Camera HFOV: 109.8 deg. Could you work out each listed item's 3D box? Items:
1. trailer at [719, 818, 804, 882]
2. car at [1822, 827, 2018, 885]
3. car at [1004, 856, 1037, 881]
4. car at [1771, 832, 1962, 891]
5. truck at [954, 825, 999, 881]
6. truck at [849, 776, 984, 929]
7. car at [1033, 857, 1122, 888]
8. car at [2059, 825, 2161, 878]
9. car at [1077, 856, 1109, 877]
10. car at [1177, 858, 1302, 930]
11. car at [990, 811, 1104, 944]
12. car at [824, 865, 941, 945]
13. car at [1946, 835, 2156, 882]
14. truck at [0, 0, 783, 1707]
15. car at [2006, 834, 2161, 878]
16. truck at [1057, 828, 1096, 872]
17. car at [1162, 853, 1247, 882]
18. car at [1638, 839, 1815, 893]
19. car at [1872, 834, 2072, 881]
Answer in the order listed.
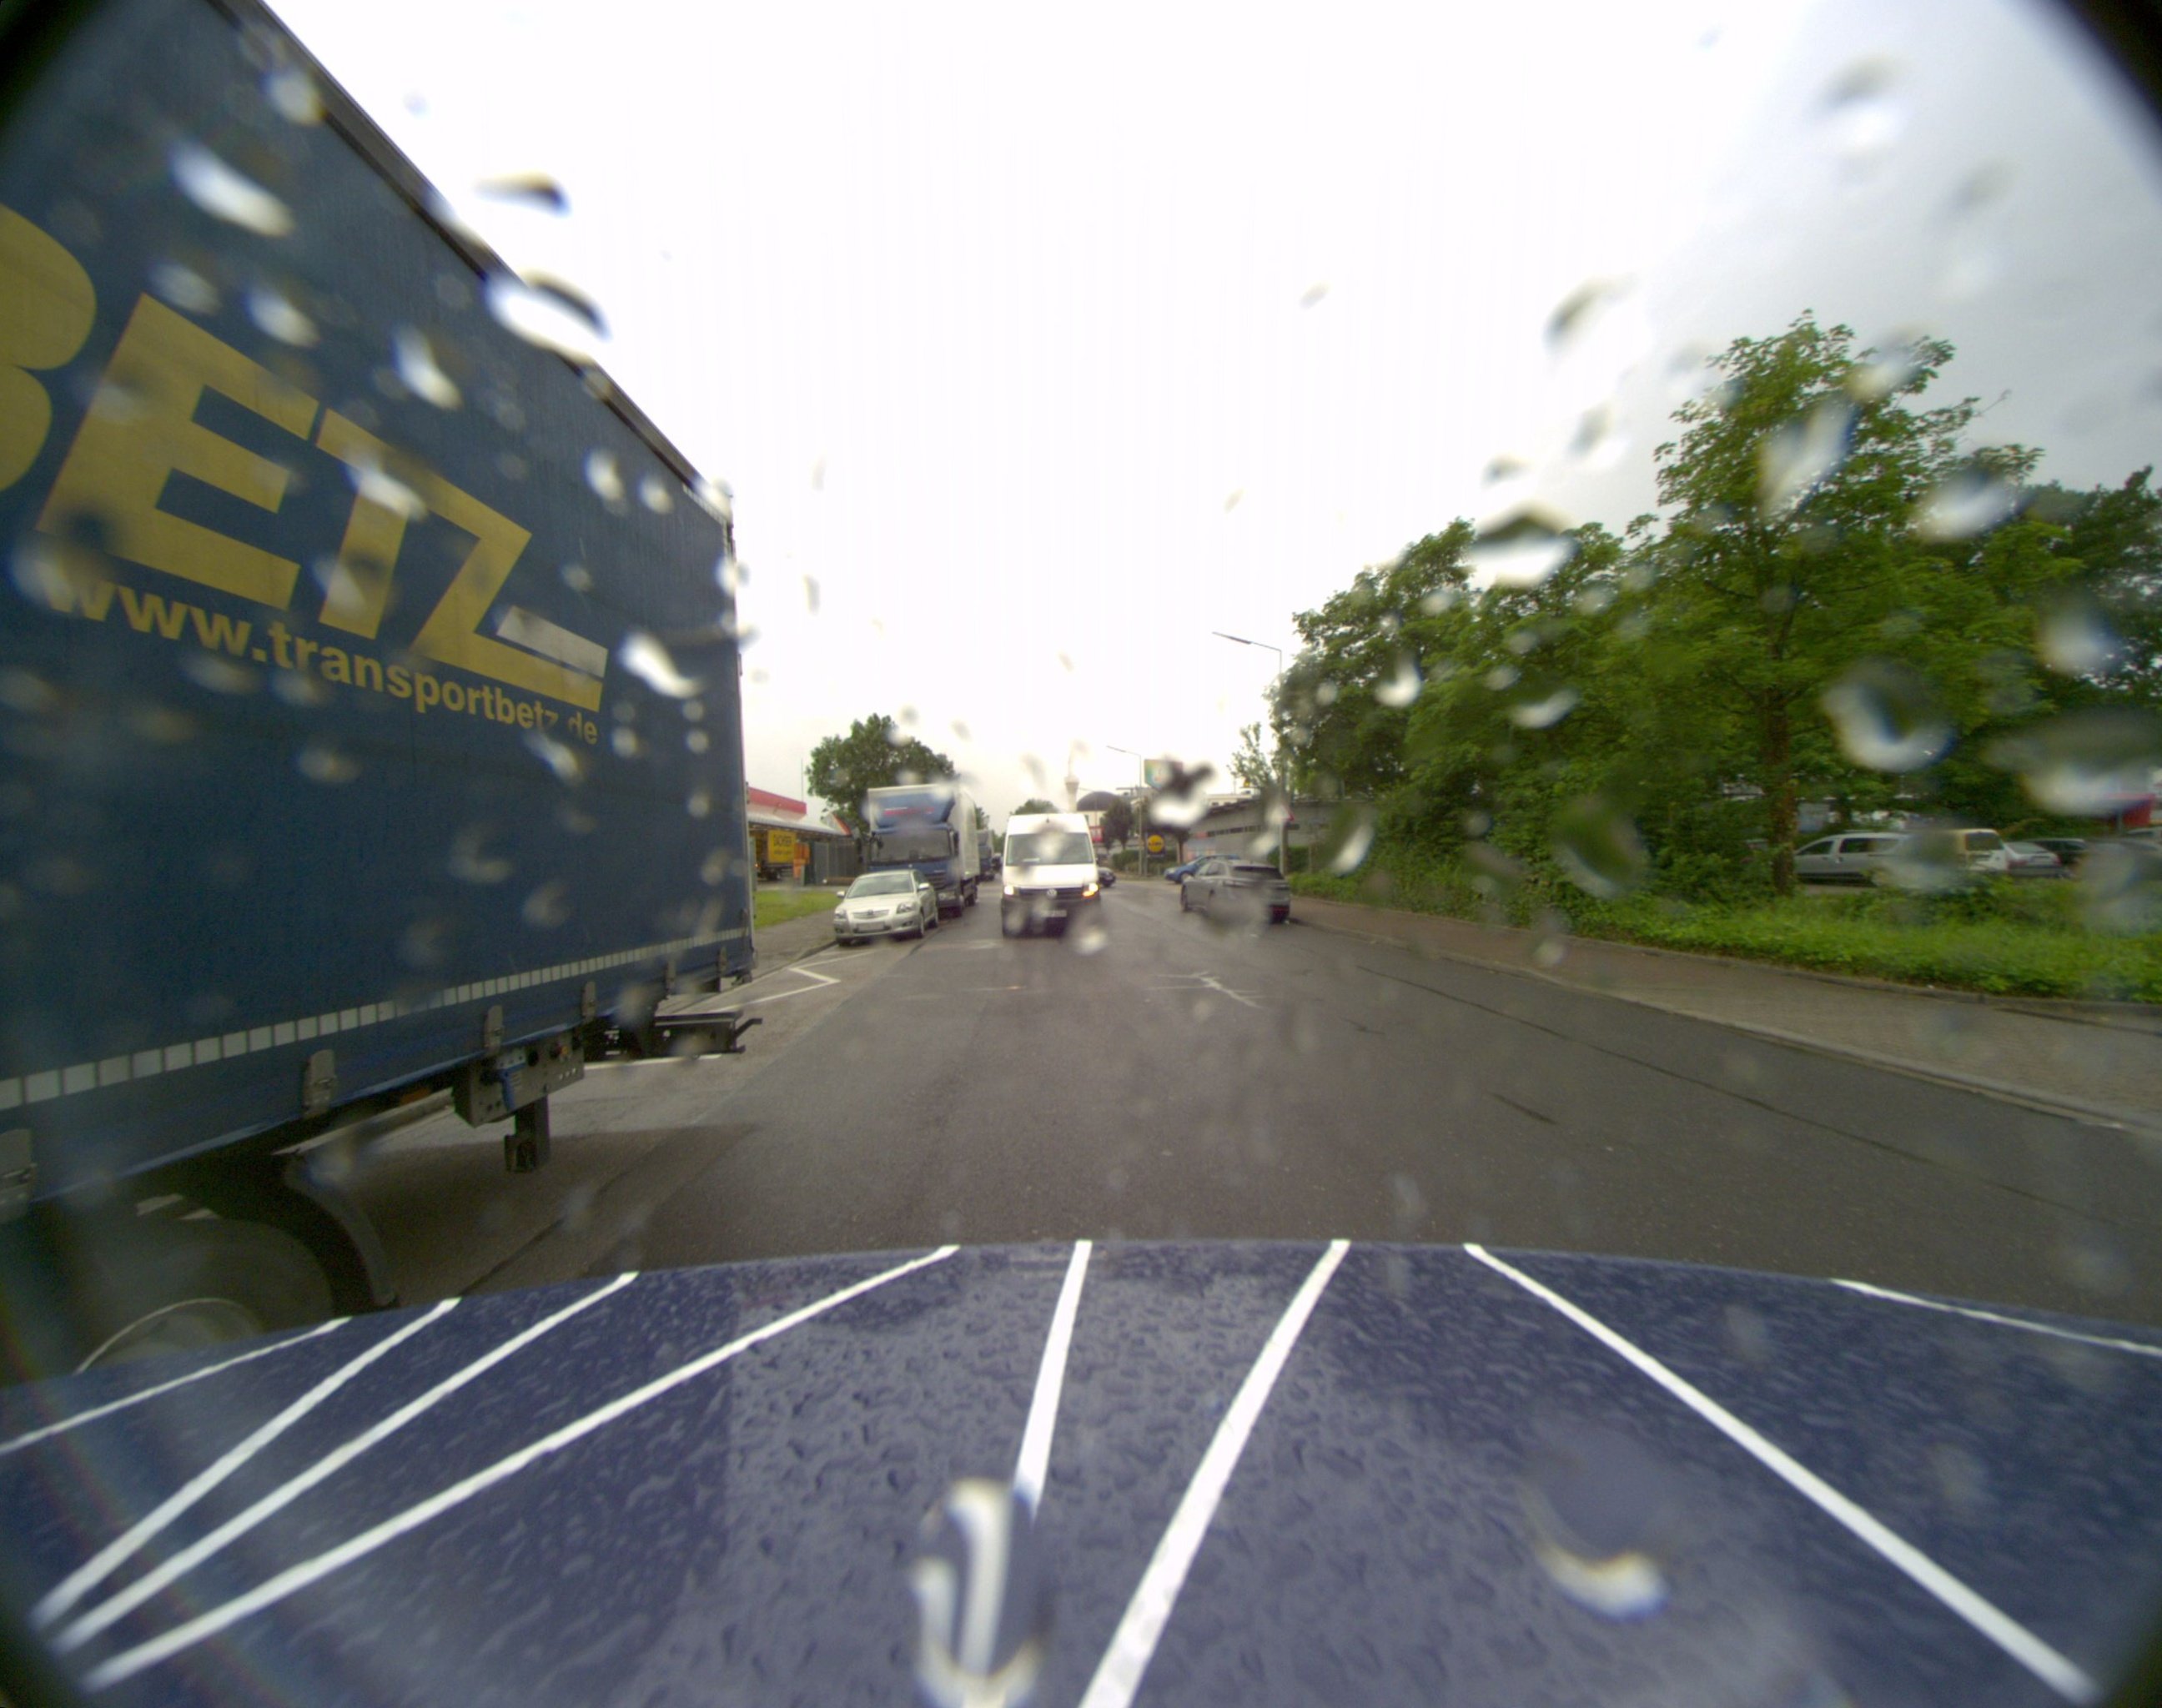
[{"bbox_3d":[-23.106,-0.272,55.587,2.975,4.218,9.466,-1,0,-6],"label":"trailer"},{"bbox_3d":[28.114,0.063,25.670,2.000,1.783,3.996,-1,0,-11],"label":"car"},{"bbox_3d":[-4.067,0.960,50.947,2.000,1.555,3.997,-1,0,-7],"label":"car"},{"bbox_3d":[26.124,0.215,25.478,2.000,1.783,3.996,-1,0,-11],"label":"car"},{"bbox_3d":[-7.572,-0.051,55.919,2.679,3.671,8.005,-4,1,-5],"label":"truck"},{"bbox_3d":[-4.809,-0.058,24.212,2.749,3.767,9.294,-4,1,-5],"label":"truck"},{"bbox_3d":[-0.178,0.882,37.275,3.989,1.432,1.740,0,0,29],"label":"car"},{"bbox_3d":[37.998,-0.104,26.702,2.000,1.805,3.996,-1,0,-11],"label":"car"},{"bbox_3d":[0.798,0.846,54.576,1.841,1.426,4.489,0,0,-5],"label":"car"},{"bbox_3d":[3.968,0.943,19.920,1.814,1.519,4.745,3,0,-6],"label":"car"},{"bbox_3d":[-0.701,0.433,16.950,2.085,2.466,5.345,-1,0,-2],"label":"car"},{"bbox_3d":[-4.216,1.004,16.835,1.803,1.433,4.342,-1,0,-5],"label":"car"},{"bbox_3d":[33.169,0.131,26.178,2.000,1.477,3.996,-1,0,-11],"label":"car"},{"bbox_3d":[-3.242,0.124,0.903,2.748,3.590,7.747,-4,1,-2],"label":"truck"},{"bbox_3d":[35.521,0.052,26.300,2.000,1.412,3.996,-1,0,-11],"label":"car"},{"bbox_3d":[-0.512,-0.332,69.060,2.890,3.724,7.864,-1,0,-4],"label":"truck"},{"bbox_3d":[6.304,0.682,39.078,3.999,1.432,1.735,0,0,-6],"label":"car"},{"bbox_3d":[20.832,0.356,24.751,2.001,1.565,3.995,-1,0,-14],"label":"car"},{"bbox_3d":[30.430,0.111,26.144,2.000,1.477,3.996,-1,0,-11],"label":"car"}]
